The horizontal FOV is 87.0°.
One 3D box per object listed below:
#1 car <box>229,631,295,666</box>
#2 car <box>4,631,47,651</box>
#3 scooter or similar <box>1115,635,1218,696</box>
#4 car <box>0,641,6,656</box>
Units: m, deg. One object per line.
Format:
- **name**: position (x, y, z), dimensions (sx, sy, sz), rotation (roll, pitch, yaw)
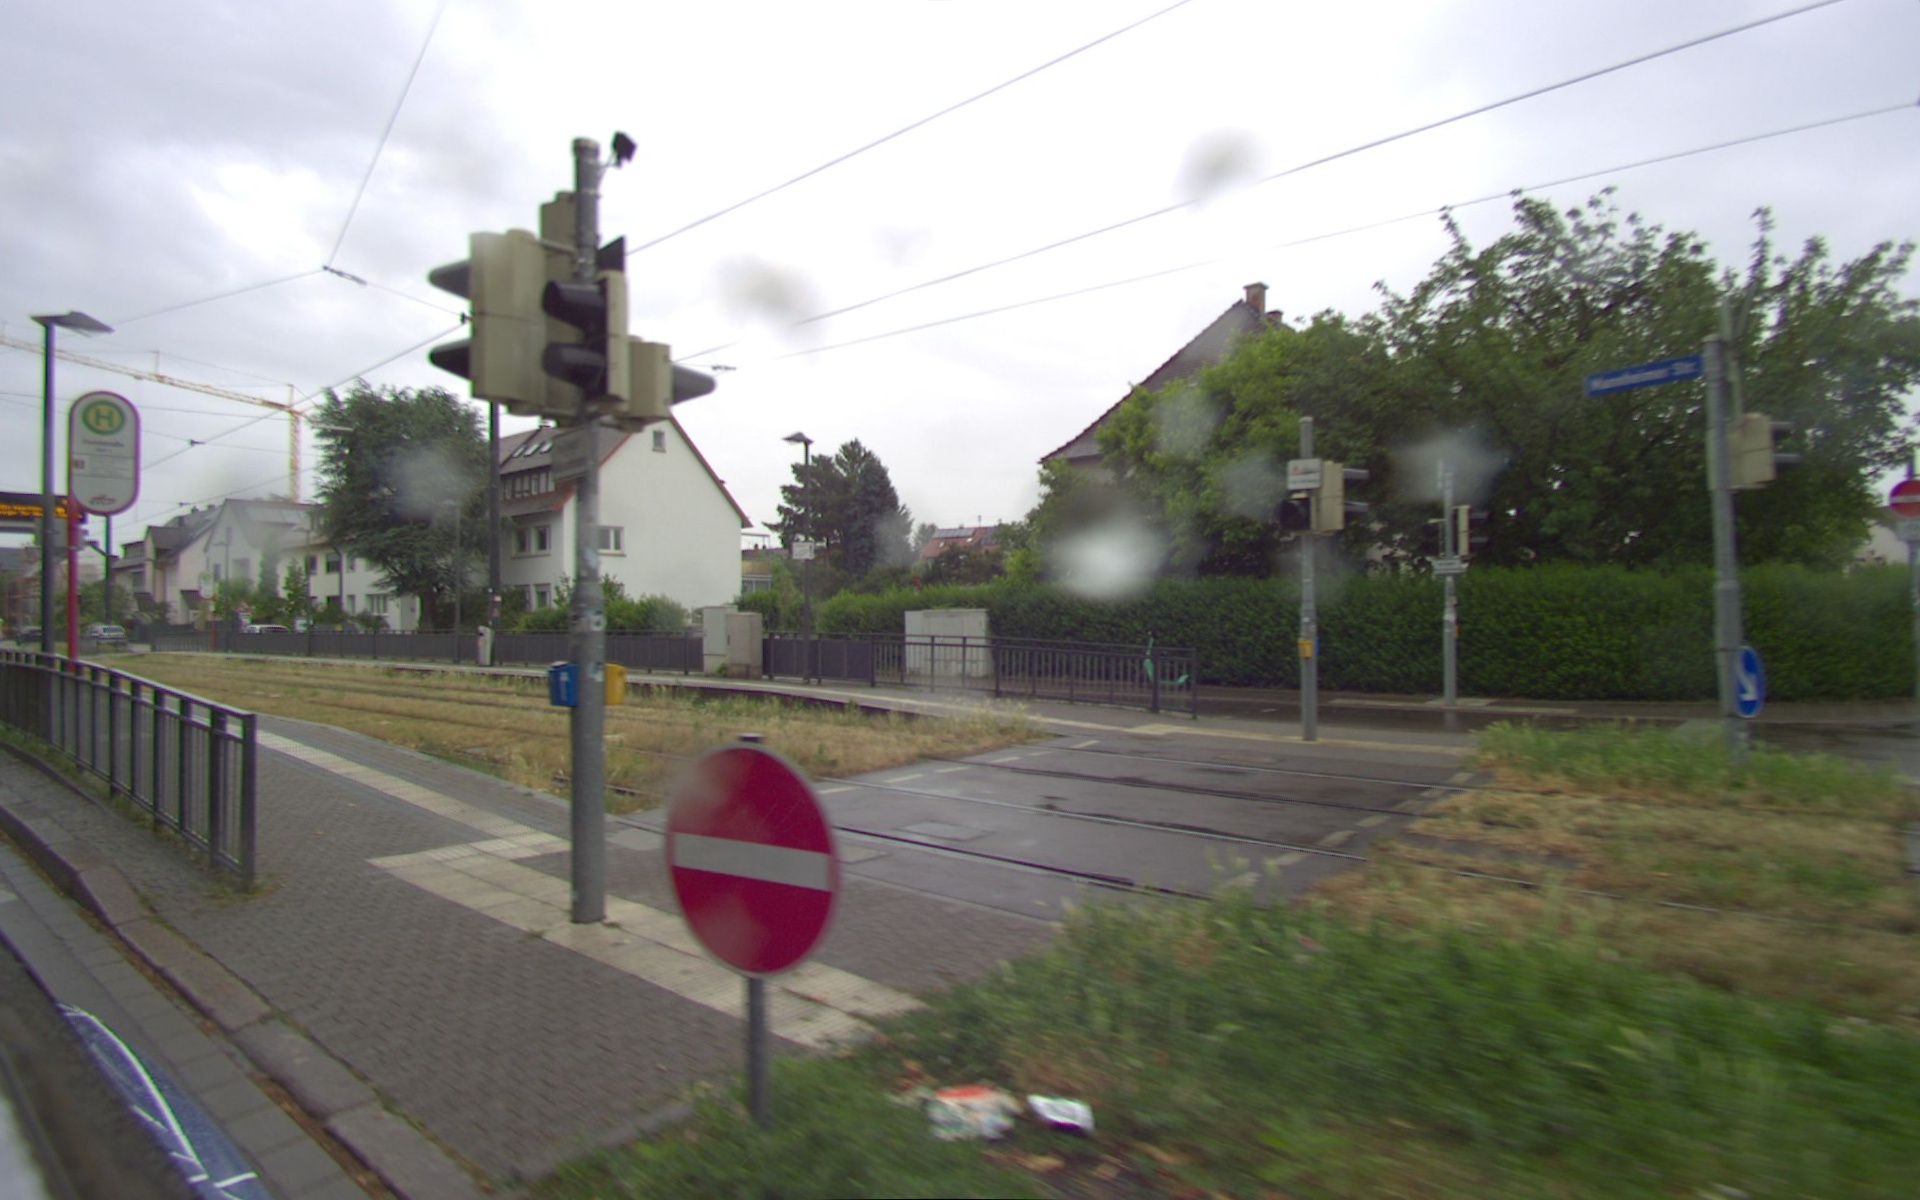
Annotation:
- **car**: position (-33.104, 2.250, 47.950), dimensions (3.998, 1.504, 1.616), rotation (-1, 0, 41)
- **car**: position (-75.338, 3.307, 81.606), dimensions (4.167, 1.437, 1.820), rotation (-3, -1, 37)
- **scooter or similar**: position (3.969, 1.234, 19.572), dimensions (1.866, 1.079, 0.656), rotation (-1, 0, 41)
- **car**: position (-91.381, 4.578, 95.048), dimensions (3.837, 1.383, 1.975), rotation (-1, 0, 37)
